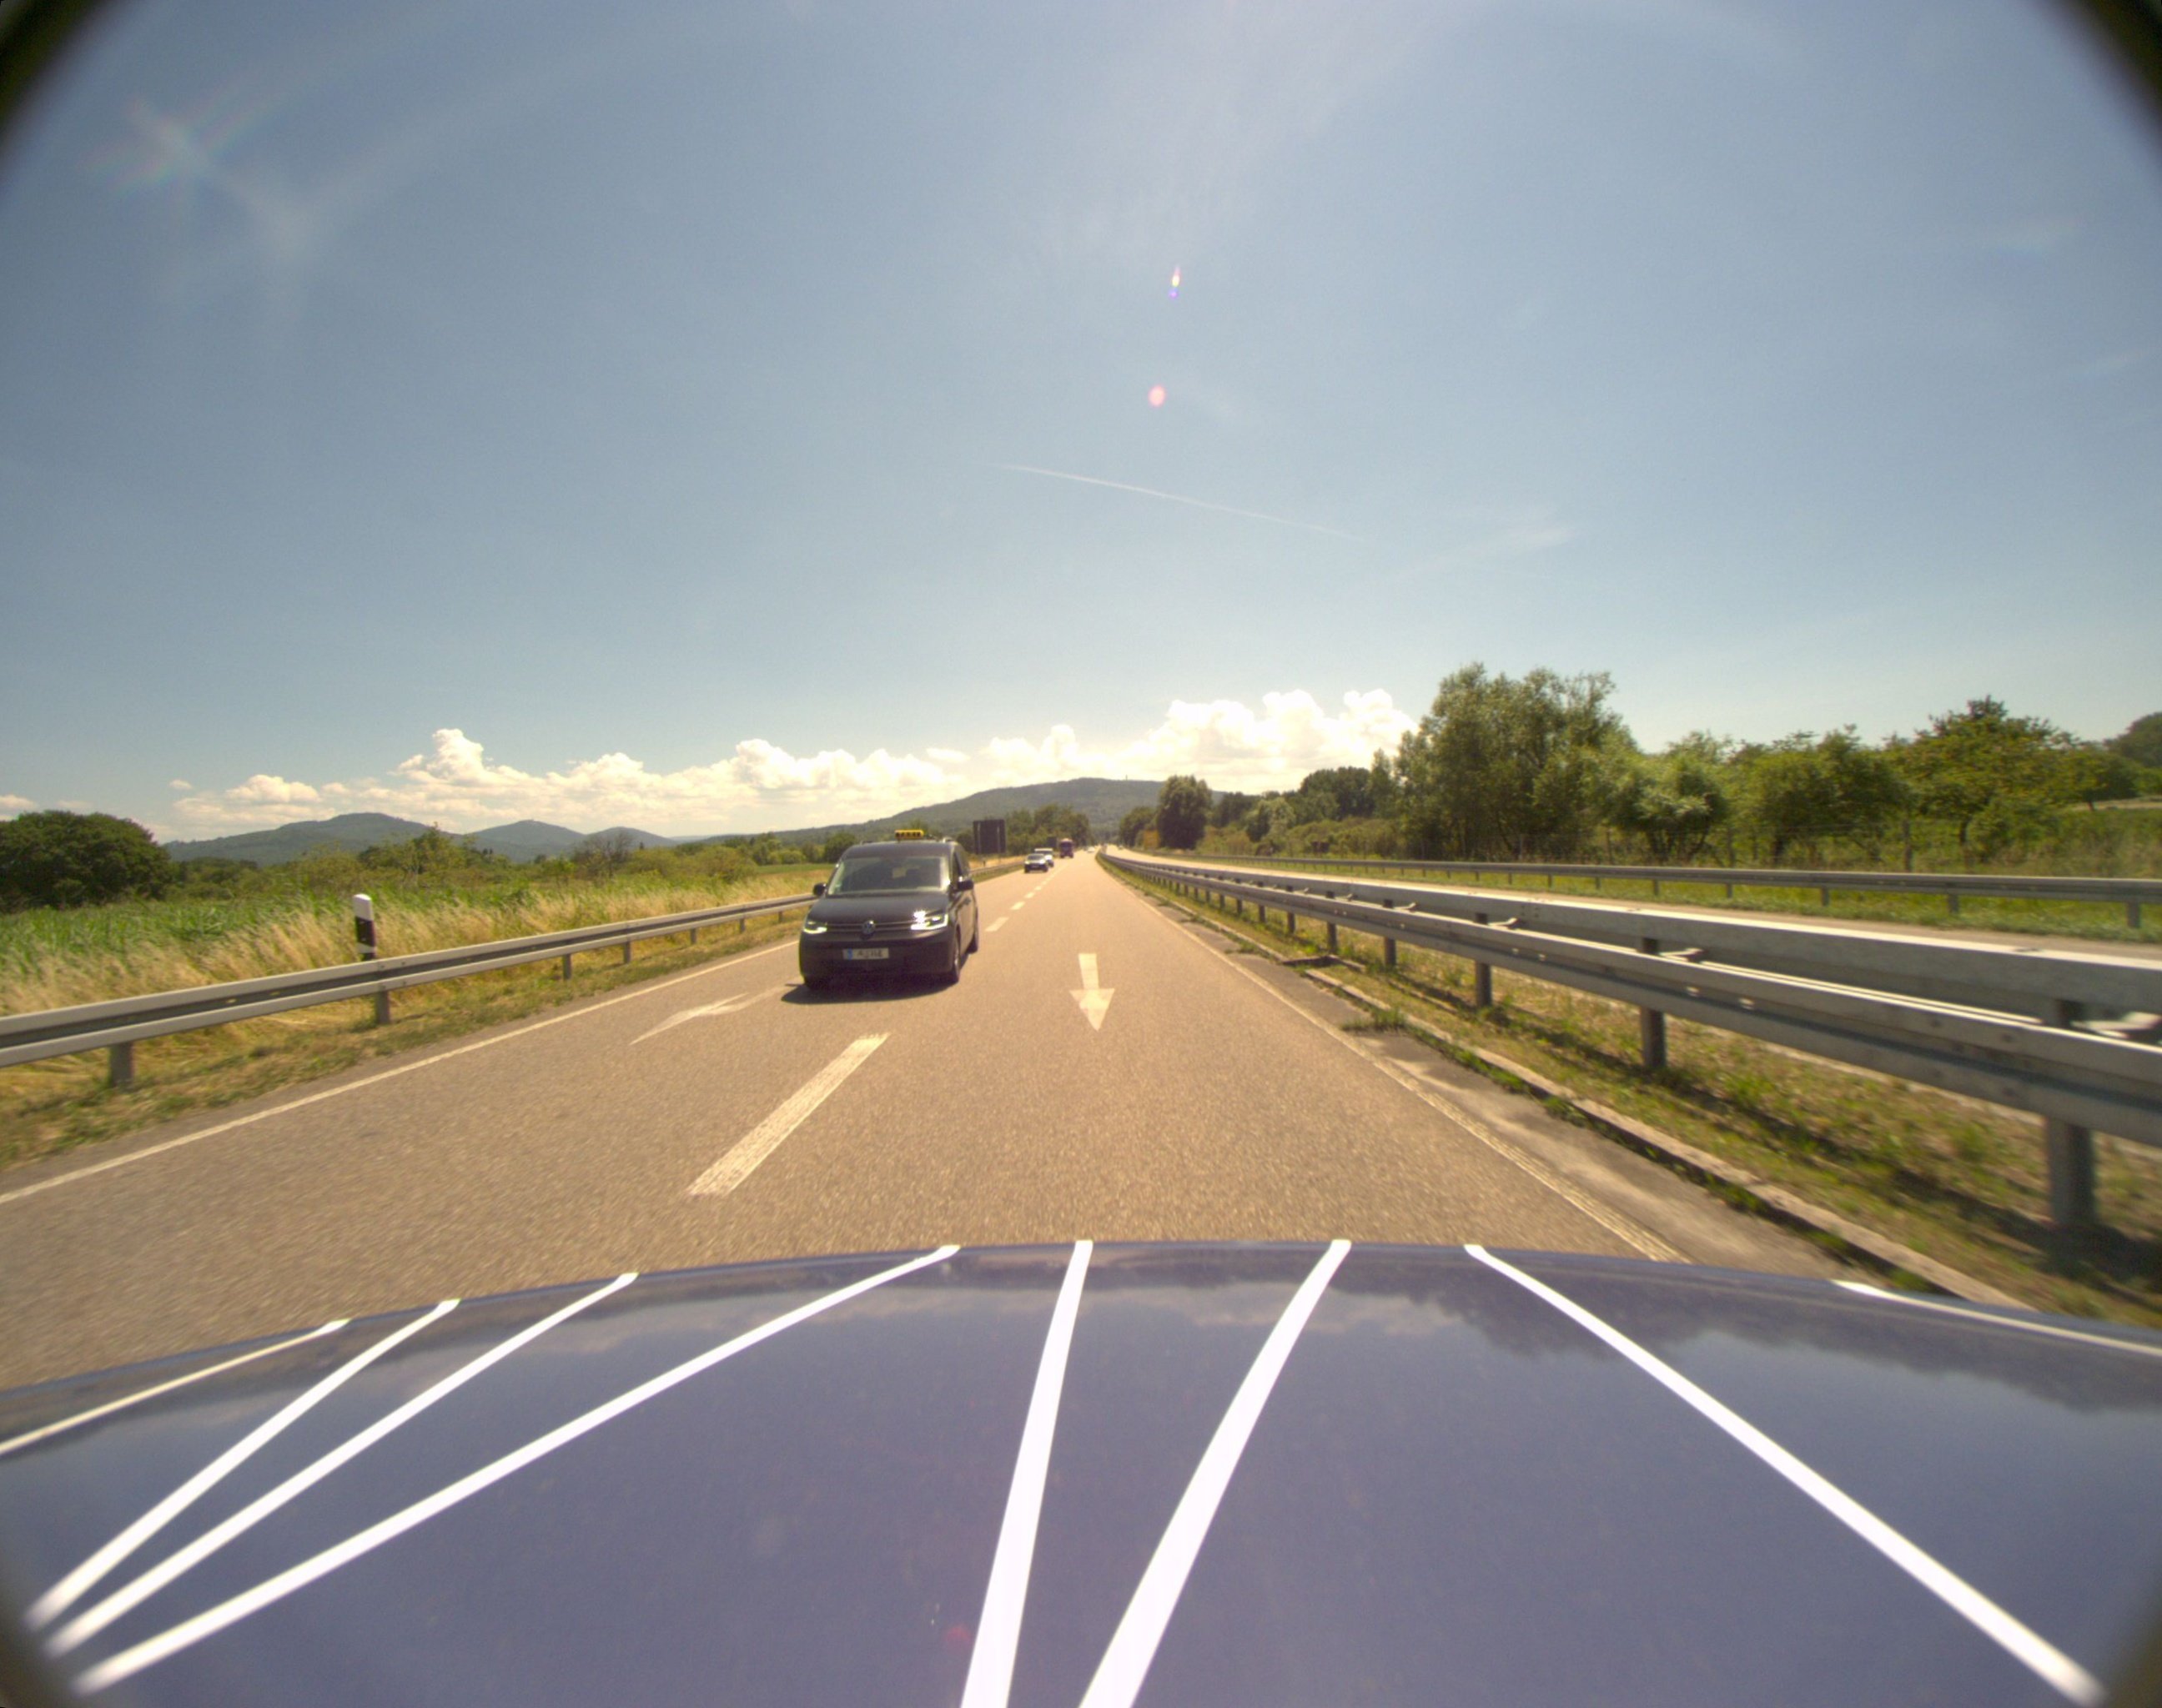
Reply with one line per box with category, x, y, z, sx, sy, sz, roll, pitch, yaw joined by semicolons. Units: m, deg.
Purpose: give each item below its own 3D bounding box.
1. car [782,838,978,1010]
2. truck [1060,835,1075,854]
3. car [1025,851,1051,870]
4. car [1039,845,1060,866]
car;-2.468;0.751;10.413;1.785;1.806;4.211;-2;1;-4
truck;-2.579;-1.838;150.856;2.604;3.670;5.939;-2;0;2
car;-3.541;0.501;62.906;1.789;1.544;4.019;-1;0;1
car;-3.288;0.145;80.351;2.011;1.977;5.033;-3;0;0
